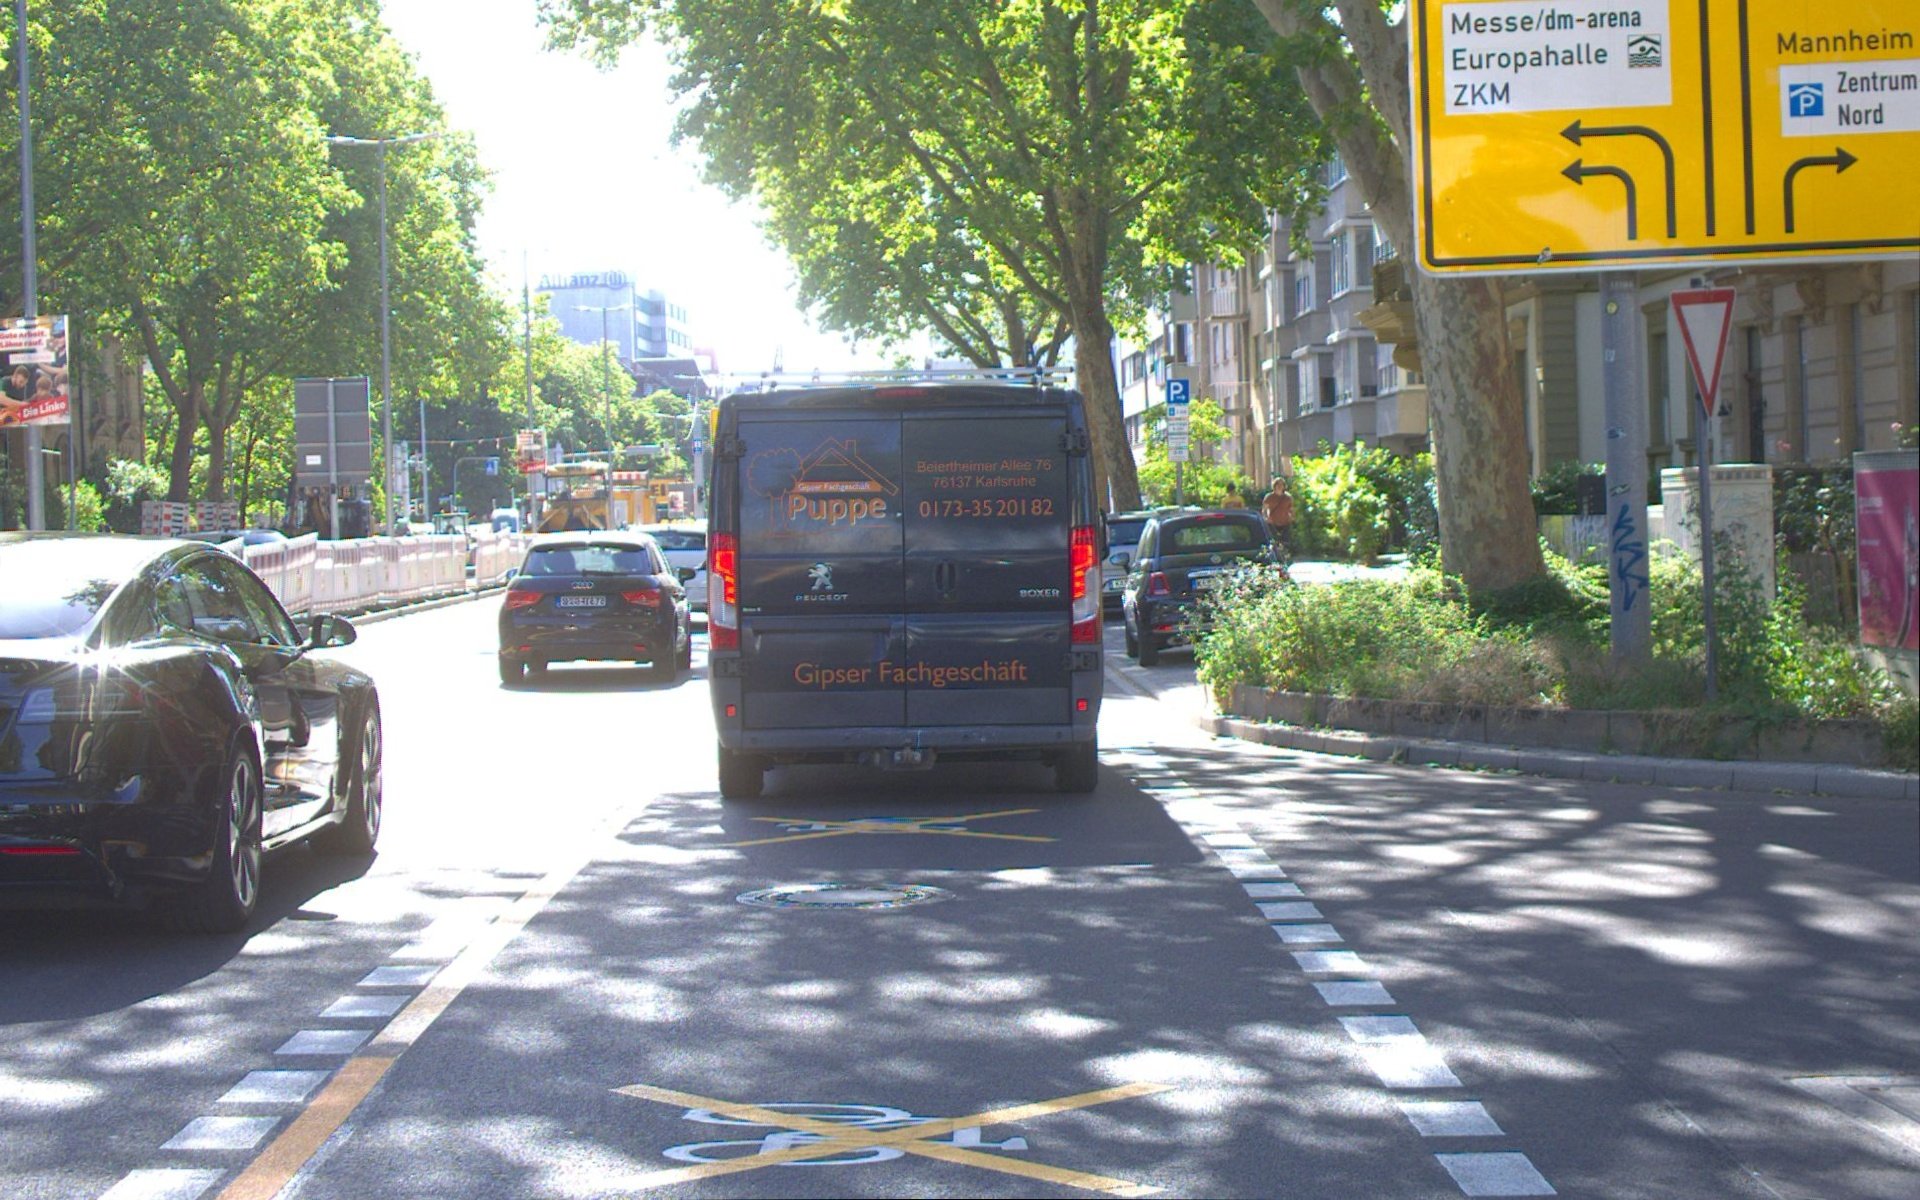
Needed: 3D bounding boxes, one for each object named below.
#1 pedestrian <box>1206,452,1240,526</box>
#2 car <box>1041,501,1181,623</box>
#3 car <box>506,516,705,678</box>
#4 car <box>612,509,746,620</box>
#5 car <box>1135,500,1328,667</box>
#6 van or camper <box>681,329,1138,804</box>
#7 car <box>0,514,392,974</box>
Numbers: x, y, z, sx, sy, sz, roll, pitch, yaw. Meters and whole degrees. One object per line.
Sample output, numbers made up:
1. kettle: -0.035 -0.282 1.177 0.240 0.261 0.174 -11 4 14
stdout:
1. pedestrian: 8.393 -3.541 109.678 1.057 2.337 0.816 0 1 2
2. car: 2.060 -0.549 47.757 1.773 1.563 4.000 -2 1 1
3. car: -3.422 -0.073 33.703 1.619 1.480 3.734 0 1 -1
4. car: -3.906 -0.525 48.235 1.619 1.480 3.734 0 1 -1
5. car: 2.700 -0.201 34.918 1.773 1.563 4.000 -1 1 2
6. van or camper: -0.339 -0.222 19.391 2.245 2.338 4.538 -1 1 -2
7. car: -3.465 0.421 13.331 1.837 1.478 4.476 -1 1 -1
